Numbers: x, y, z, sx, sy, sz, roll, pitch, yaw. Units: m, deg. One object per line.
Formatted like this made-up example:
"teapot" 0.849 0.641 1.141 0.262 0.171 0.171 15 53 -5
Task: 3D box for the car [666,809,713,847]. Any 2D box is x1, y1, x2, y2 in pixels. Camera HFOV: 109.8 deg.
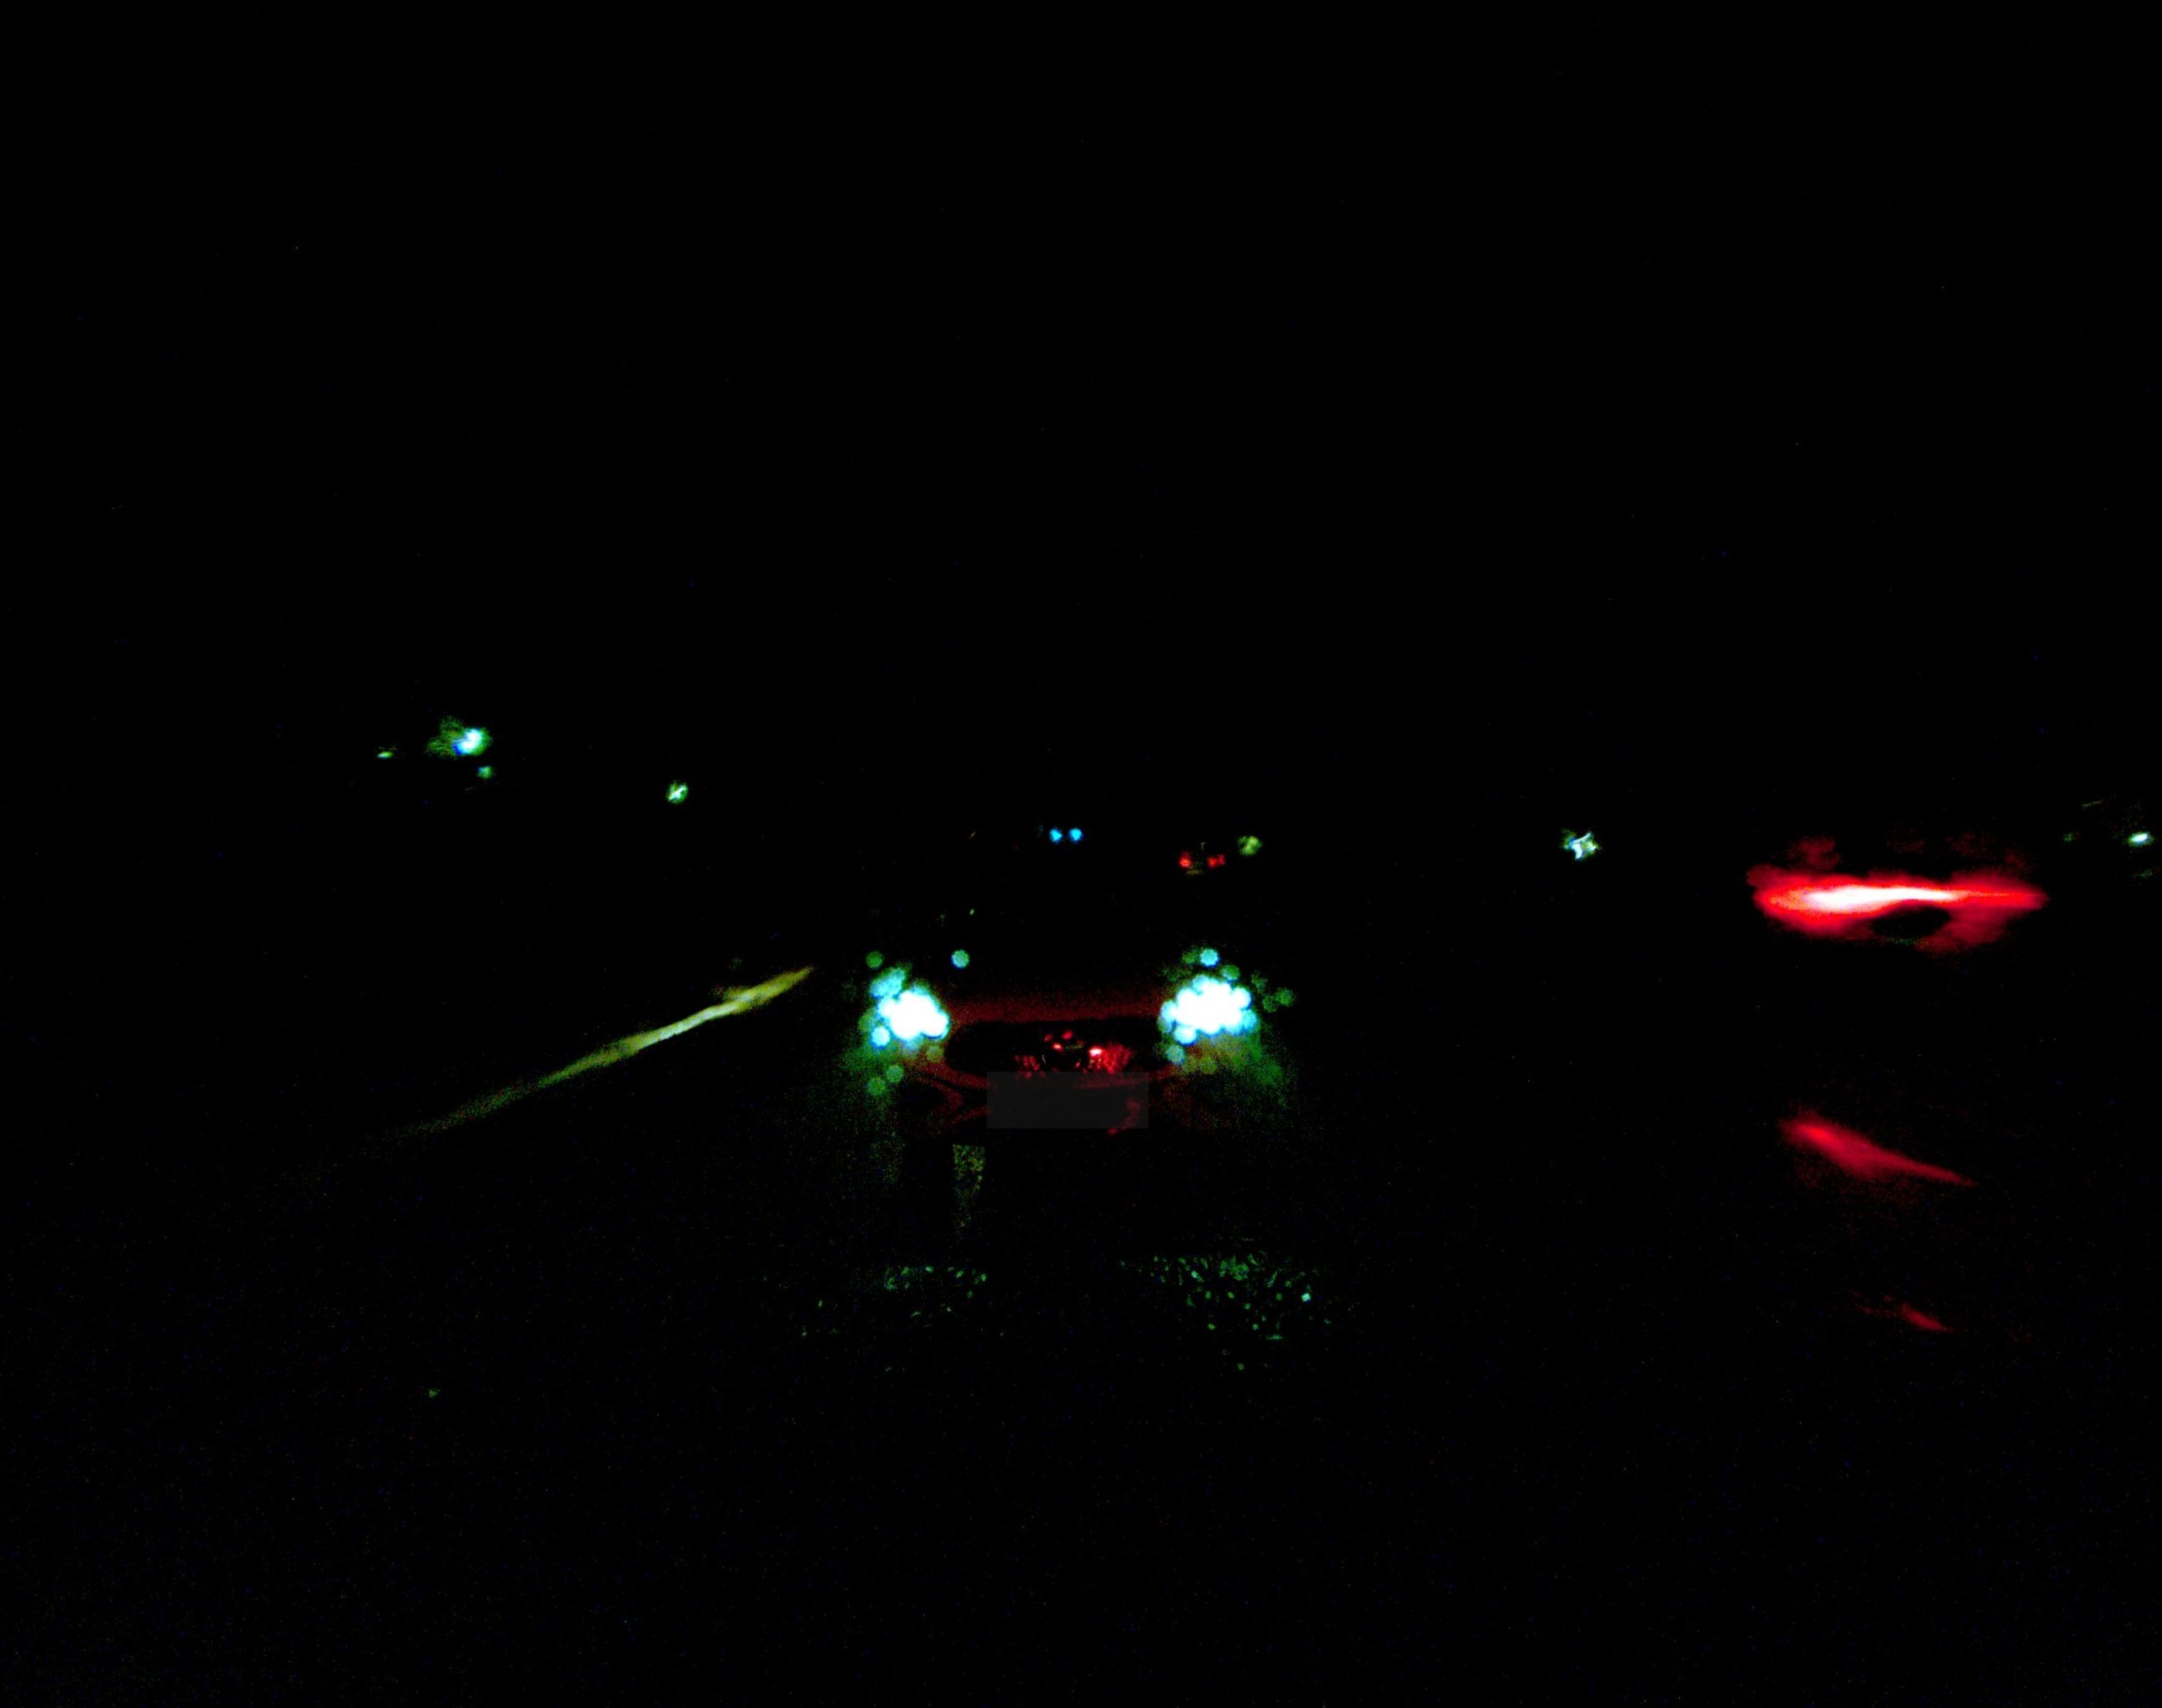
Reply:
"car" -26.359 -1.714 51.276 1.937 2.406 4.249 -3 1 -16

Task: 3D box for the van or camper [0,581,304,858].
"van or camper" -12.762 -1.382 9.042 2.417 2.777 5.763 -3 1 -18

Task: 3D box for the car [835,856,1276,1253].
"car" -0.078 0.874 5.431 1.826 1.573 4.354 -2 1 1

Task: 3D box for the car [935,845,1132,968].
"car" -0.582 0.767 13.607 1.837 1.725 4.946 -2 1 17

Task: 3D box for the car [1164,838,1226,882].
"car" 5.678 0.315 38.497 2.091 2.001 4.712 -2 0 -4

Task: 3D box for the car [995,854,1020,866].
"car" -13.261 1.154 137.052 3.991 2.002 2.003 -2 1 23

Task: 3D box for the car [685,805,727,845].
"car" -27.836 -2.098 56.479 1.937 2.759 4.249 -3 1 -16

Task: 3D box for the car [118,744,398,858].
"car" -16.401 -0.964 15.518 2.001 2.002 3.994 -3 1 -16

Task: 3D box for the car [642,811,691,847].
"car" -25.042 -1.503 46.058 1.735 2.002 3.696 -3 1 -16

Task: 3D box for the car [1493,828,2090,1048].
"car" 6.401 0.656 7.791 1.892 1.559 4.486 -2 -1 0
